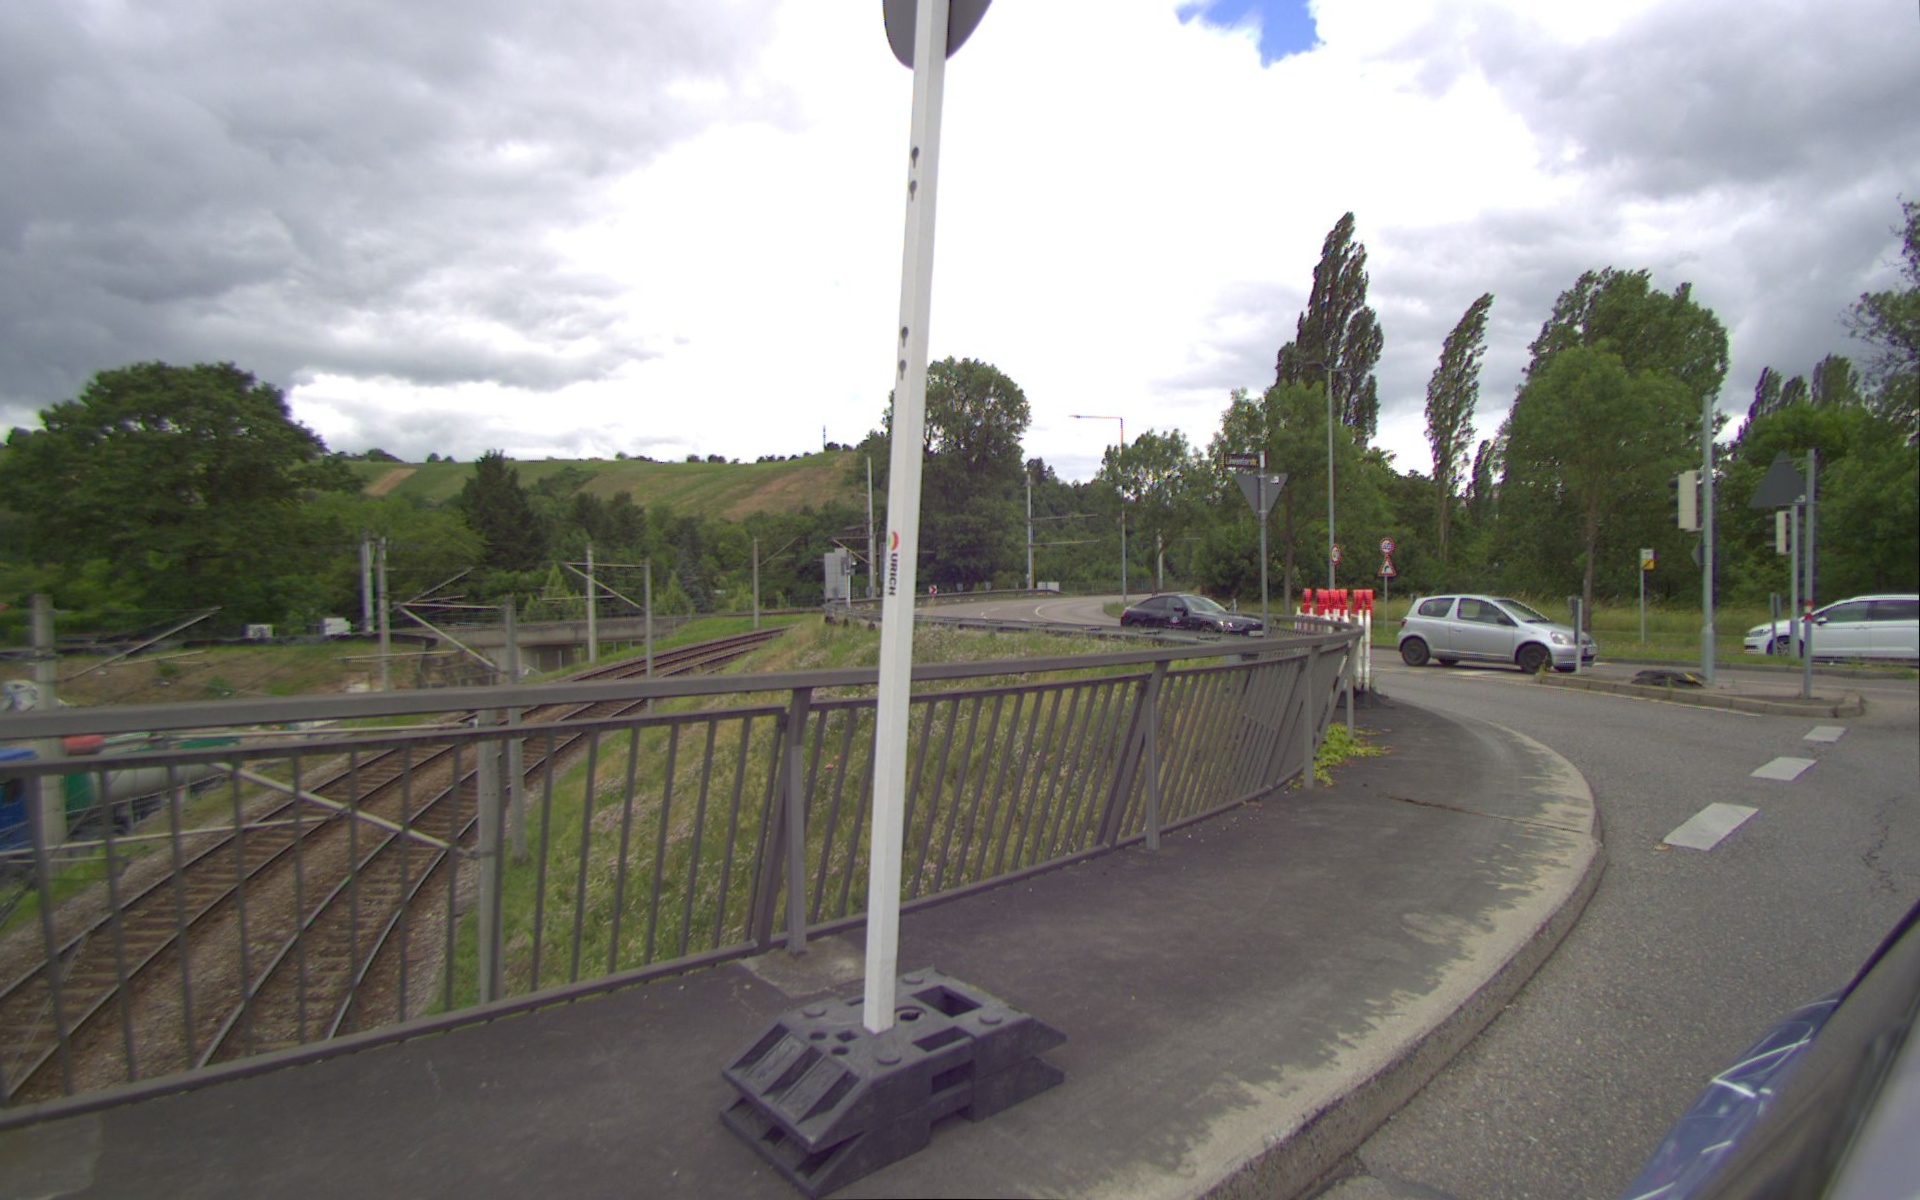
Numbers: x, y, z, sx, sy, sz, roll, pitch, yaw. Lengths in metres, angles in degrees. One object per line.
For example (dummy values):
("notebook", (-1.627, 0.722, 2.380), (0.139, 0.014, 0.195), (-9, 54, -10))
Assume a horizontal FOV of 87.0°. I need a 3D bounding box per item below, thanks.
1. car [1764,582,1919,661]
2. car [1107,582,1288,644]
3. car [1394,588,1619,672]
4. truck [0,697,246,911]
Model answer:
("car", (21.854, 0.465, 24.036), (4.300, 1.782, 2.054), (0, 1, 39))
("car", (6.306, 0.293, 27.506), (1.841, 1.495, 4.969), (1, 1, -30))
("car", (10.863, 0.519, 20.307), (1.643, 1.488, 3.626), (0, 1, -38))
("truck", (-24.424, 5.248, 28.057), (2.788, 3.943, 11.638), (-1, 0, -10))
